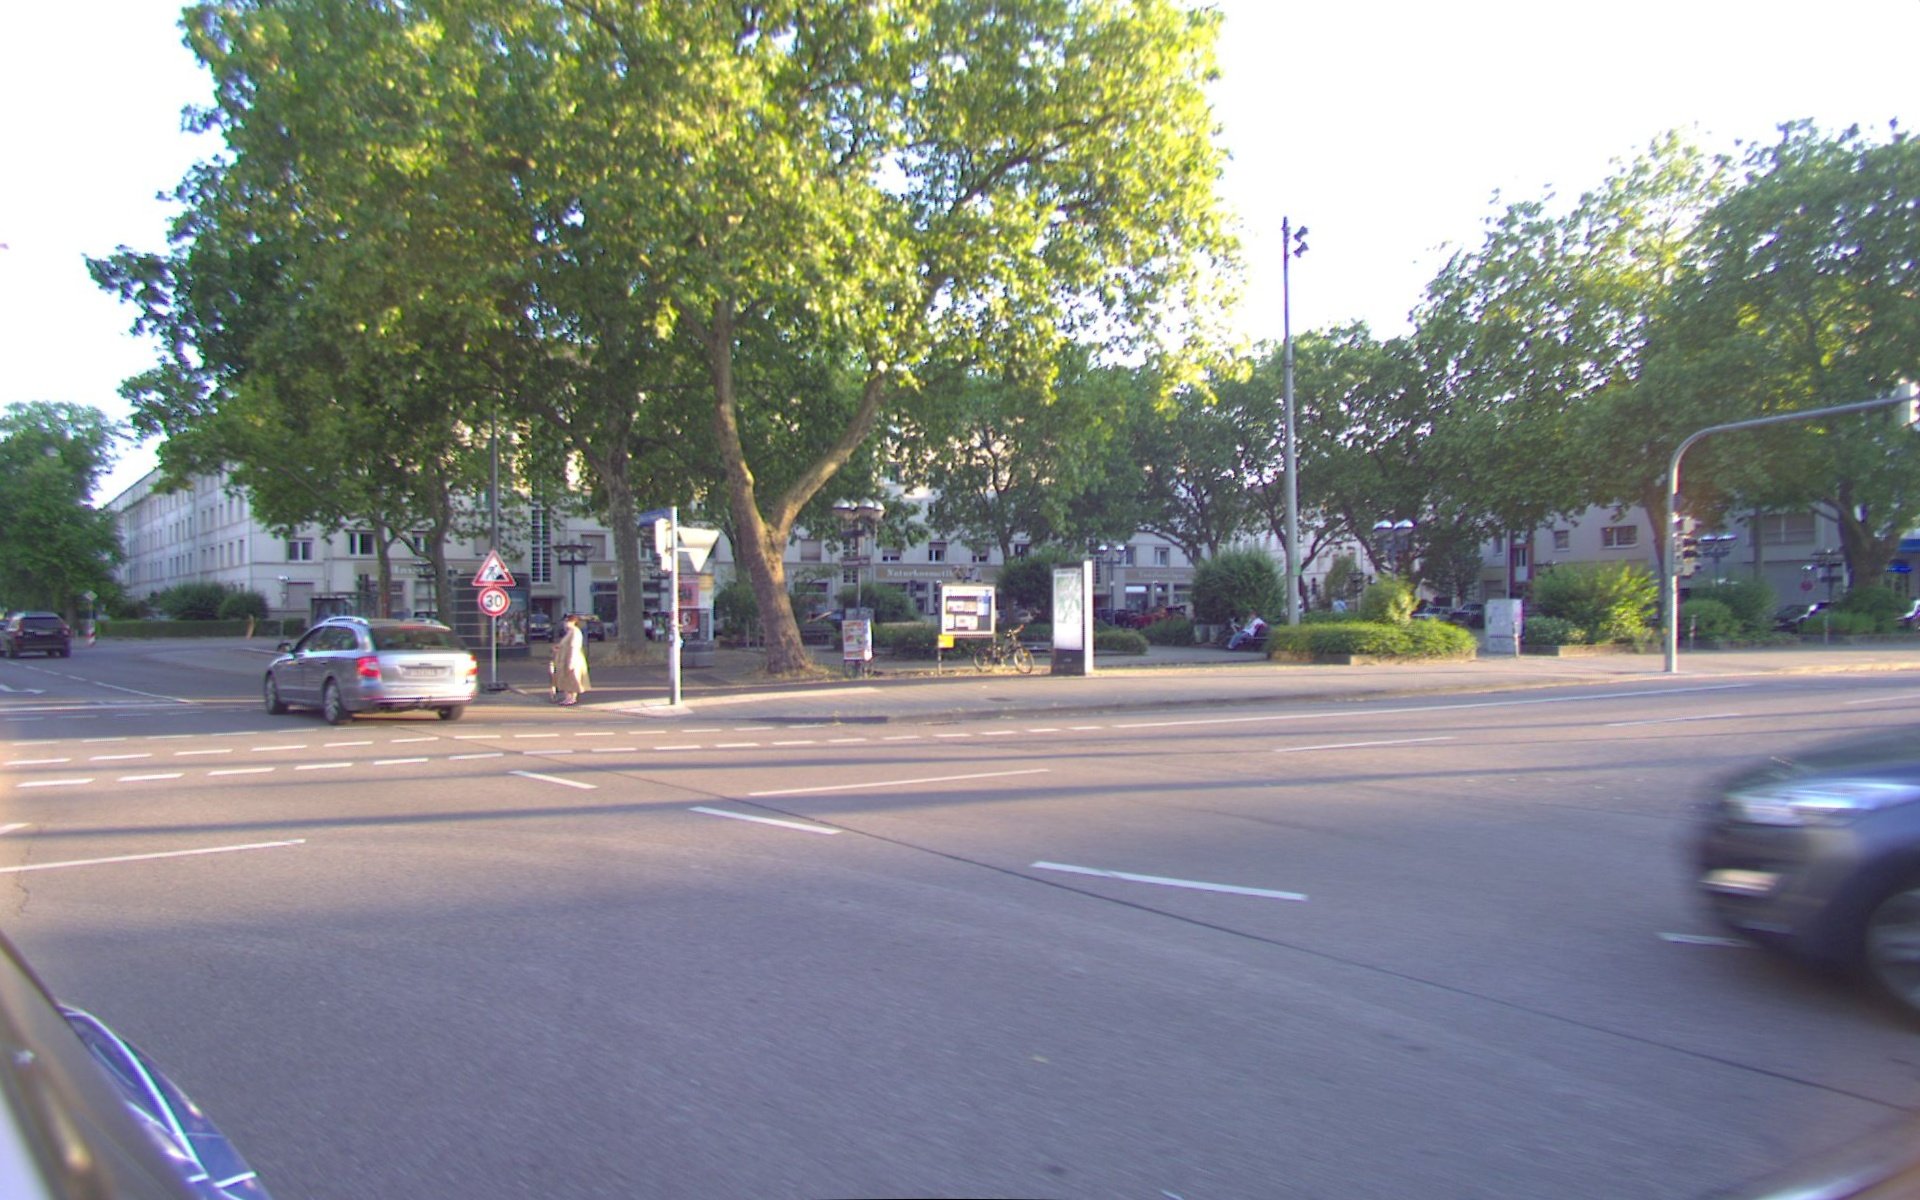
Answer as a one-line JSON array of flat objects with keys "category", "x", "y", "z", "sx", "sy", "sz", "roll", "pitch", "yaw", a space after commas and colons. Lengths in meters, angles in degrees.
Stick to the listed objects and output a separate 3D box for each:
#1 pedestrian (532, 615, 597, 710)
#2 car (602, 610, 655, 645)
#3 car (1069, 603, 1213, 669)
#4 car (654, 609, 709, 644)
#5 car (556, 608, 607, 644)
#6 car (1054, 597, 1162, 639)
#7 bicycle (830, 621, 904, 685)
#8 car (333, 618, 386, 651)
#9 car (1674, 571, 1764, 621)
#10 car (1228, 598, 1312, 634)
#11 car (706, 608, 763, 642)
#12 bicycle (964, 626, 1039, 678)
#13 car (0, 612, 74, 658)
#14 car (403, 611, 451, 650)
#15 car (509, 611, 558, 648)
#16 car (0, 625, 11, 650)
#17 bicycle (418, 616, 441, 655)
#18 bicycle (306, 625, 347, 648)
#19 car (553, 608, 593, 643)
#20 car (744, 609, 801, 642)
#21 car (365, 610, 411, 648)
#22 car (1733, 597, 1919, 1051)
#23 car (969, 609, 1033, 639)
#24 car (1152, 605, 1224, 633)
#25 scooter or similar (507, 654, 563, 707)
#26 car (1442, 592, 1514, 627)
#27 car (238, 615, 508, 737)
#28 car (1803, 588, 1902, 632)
[{"category": "pedestrian", "x": -7.129, "y": 1.105, "z": 18.265, "sx": 0.772, "sy": 1.640, "sz": 0.794, "roll": -1, "pitch": 0, "yaw": 37}, {"category": "car", "x": -17.822, "y": 1.508, "z": 54.323, "sx": 1.965, "sy": 1.795, "sz": 4.655, "roll": 1, "pitch": -3, "yaw": -27}, {"category": "car", "x": 5.266, "y": 1.085, "z": 30.142, "sx": 1.965, "sy": 1.795, "sz": 4.655, "roll": 1, "pitch": -3, "yaw": -23}, {"category": "car", "x": -15.299, "y": 1.491, "z": 55.361, "sx": 1.965, "sy": 1.795, "sz": 4.655, "roll": 1, "pitch": -3, "yaw": -27}, {"category": "car", "x": -19.967, "y": 1.417, "z": 53.286, "sx": 1.965, "sy": 1.795, "sz": 4.655, "roll": 1, "pitch": -3, "yaw": -27}, {"category": "car", "x": 6.642, "y": 0.822, "z": 45.395, "sx": 4.423, "sy": 1.795, "sz": 2.006, "roll": 1, "pitch": -3, "yaw": -27}, {"category": "bicycle", "x": -2.101, "y": 1.145, "z": 22.581, "sx": 0.519, "sy": 1.336, "sz": 1.996, "roll": -1, "pitch": 0, "yaw": -43}, {"category": "car", "x": -29.215, "y": 1.703, "z": 49.144, "sx": 1.966, "sy": 1.515, "sz": 4.653, "roll": 1, "pitch": -3, "yaw": -34}, {"category": "car", "x": 37.775, "y": -0.220, "z": 50.377, "sx": 3.931, "sy": 2.361, "sz": 2.007, "roll": -1, "pitch": 0, "yaw": -26}, {"category": "car", "x": 18.175, "y": 0.965, "z": 59.549, "sx": 1.965, "sy": 1.953, "sz": 4.655, "roll": 1, "pitch": -3, "yaw": -27}, {"category": "car", "x": -12.700, "y": 1.447, "z": 56.811, "sx": 1.965, "sy": 1.795, "sz": 4.655, "roll": 1, "pitch": -3, "yaw": -27}, {"category": "bicycle", "x": 0.922, "y": 1.168, "z": 22.906, "sx": 1.798, "sy": 1.101, "sz": 0.453, "roll": 0, "pitch": 0, "yaw": 40}, {"category": "car", "x": -38.008, "y": 1.420, "z": 41.424, "sx": 4.795, "sy": 1.798, "sz": 1.973, "roll": -2, "pitch": -2, "yaw": 41}, {"category": "car", "x": -26.285, "y": 1.546, "z": 49.957, "sx": 1.965, "sy": 1.795, "sz": 4.655, "roll": 1, "pitch": -3, "yaw": -27}, {"category": "car", "x": -22.040, "y": 1.549, "z": 52.239, "sx": 1.965, "sy": 1.795, "sz": 4.655, "roll": 1, "pitch": -3, "yaw": -27}, {"category": "car", "x": -65.064, "y": 2.524, "z": 67.965, "sx": 1.866, "sy": 1.612, "sz": 4.004, "roll": -1, "pitch": 1, "yaw": -43}, {"category": "bicycle", "x": -24.023, "y": 1.582, "z": 45.869, "sx": 0.680, "sy": 1.626, "sz": 2.754, "roll": -1, "pitch": 0, "yaw": -23}, {"category": "bicycle", "x": -35.064, "y": 2.029, "z": 56.026, "sx": 1.776, "sy": 1.215, "sz": 0.649, "roll": -1, "pitch": 0, "yaw": -15}, {"category": "car", "x": -24.056, "y": 1.521, "z": 62.751, "sx": 1.965, "sy": 1.970, "sz": 4.656, "roll": 1, "pitch": 1, "yaw": -25}, {"category": "car", "x": -10.832, "y": 1.487, "z": 58.197, "sx": 1.965, "sy": 1.795, "sz": 4.655, "roll": 1, "pitch": -3, "yaw": -27}, {"category": "car", "x": -32.942, "y": 1.646, "z": 58.394, "sx": 1.965, "sy": 1.970, "sz": 4.656, "roll": 1, "pitch": 1, "yaw": -25}, {"category": "car", "x": 4.989, "y": 0.722, "z": 3.026, "sx": 4.137, "sy": 1.488, "sz": 1.973, "roll": -1, "pitch": -2, "yaw": 41}, {"category": "car", "x": 2.539, "y": 1.556, "z": 63.789, "sx": 1.965, "sy": 1.748, "sz": 4.655, "roll": 1, "pitch": -3, "yaw": -27}, {"category": "car", "x": 15.674, "y": 1.332, "z": 69.816, "sx": 1.967, "sy": 1.824, "sz": 4.659, "roll": 2, "pitch": -3, "yaw": -37}, {"category": "scooter or similar", "x": -7.850, "y": 1.469, "z": 18.683, "sx": 0.850, "sy": 0.904, "sz": 0.586, "roll": -1, "pitch": 0, "yaw": 36}, {"category": "car", "x": 32.234, "y": 0.559, "z": 62.959, "sx": 3.931, "sy": 2.029, "sz": 2.007, "roll": -1, "pitch": 0, "yaw": -26}, {"category": "car", "x": -8.969, "y": 1.032, "z": 15.301, "sx": 4.764, "sy": 1.570, "sz": 1.974, "roll": -1, "pitch": -2, "yaw": 39}, {"category": "car", "x": 40.138, "y": 0.414, "z": 45.520, "sx": 3.931, "sy": 1.862, "sz": 1.924, "roll": -1, "pitch": 0, "yaw": -26}]
